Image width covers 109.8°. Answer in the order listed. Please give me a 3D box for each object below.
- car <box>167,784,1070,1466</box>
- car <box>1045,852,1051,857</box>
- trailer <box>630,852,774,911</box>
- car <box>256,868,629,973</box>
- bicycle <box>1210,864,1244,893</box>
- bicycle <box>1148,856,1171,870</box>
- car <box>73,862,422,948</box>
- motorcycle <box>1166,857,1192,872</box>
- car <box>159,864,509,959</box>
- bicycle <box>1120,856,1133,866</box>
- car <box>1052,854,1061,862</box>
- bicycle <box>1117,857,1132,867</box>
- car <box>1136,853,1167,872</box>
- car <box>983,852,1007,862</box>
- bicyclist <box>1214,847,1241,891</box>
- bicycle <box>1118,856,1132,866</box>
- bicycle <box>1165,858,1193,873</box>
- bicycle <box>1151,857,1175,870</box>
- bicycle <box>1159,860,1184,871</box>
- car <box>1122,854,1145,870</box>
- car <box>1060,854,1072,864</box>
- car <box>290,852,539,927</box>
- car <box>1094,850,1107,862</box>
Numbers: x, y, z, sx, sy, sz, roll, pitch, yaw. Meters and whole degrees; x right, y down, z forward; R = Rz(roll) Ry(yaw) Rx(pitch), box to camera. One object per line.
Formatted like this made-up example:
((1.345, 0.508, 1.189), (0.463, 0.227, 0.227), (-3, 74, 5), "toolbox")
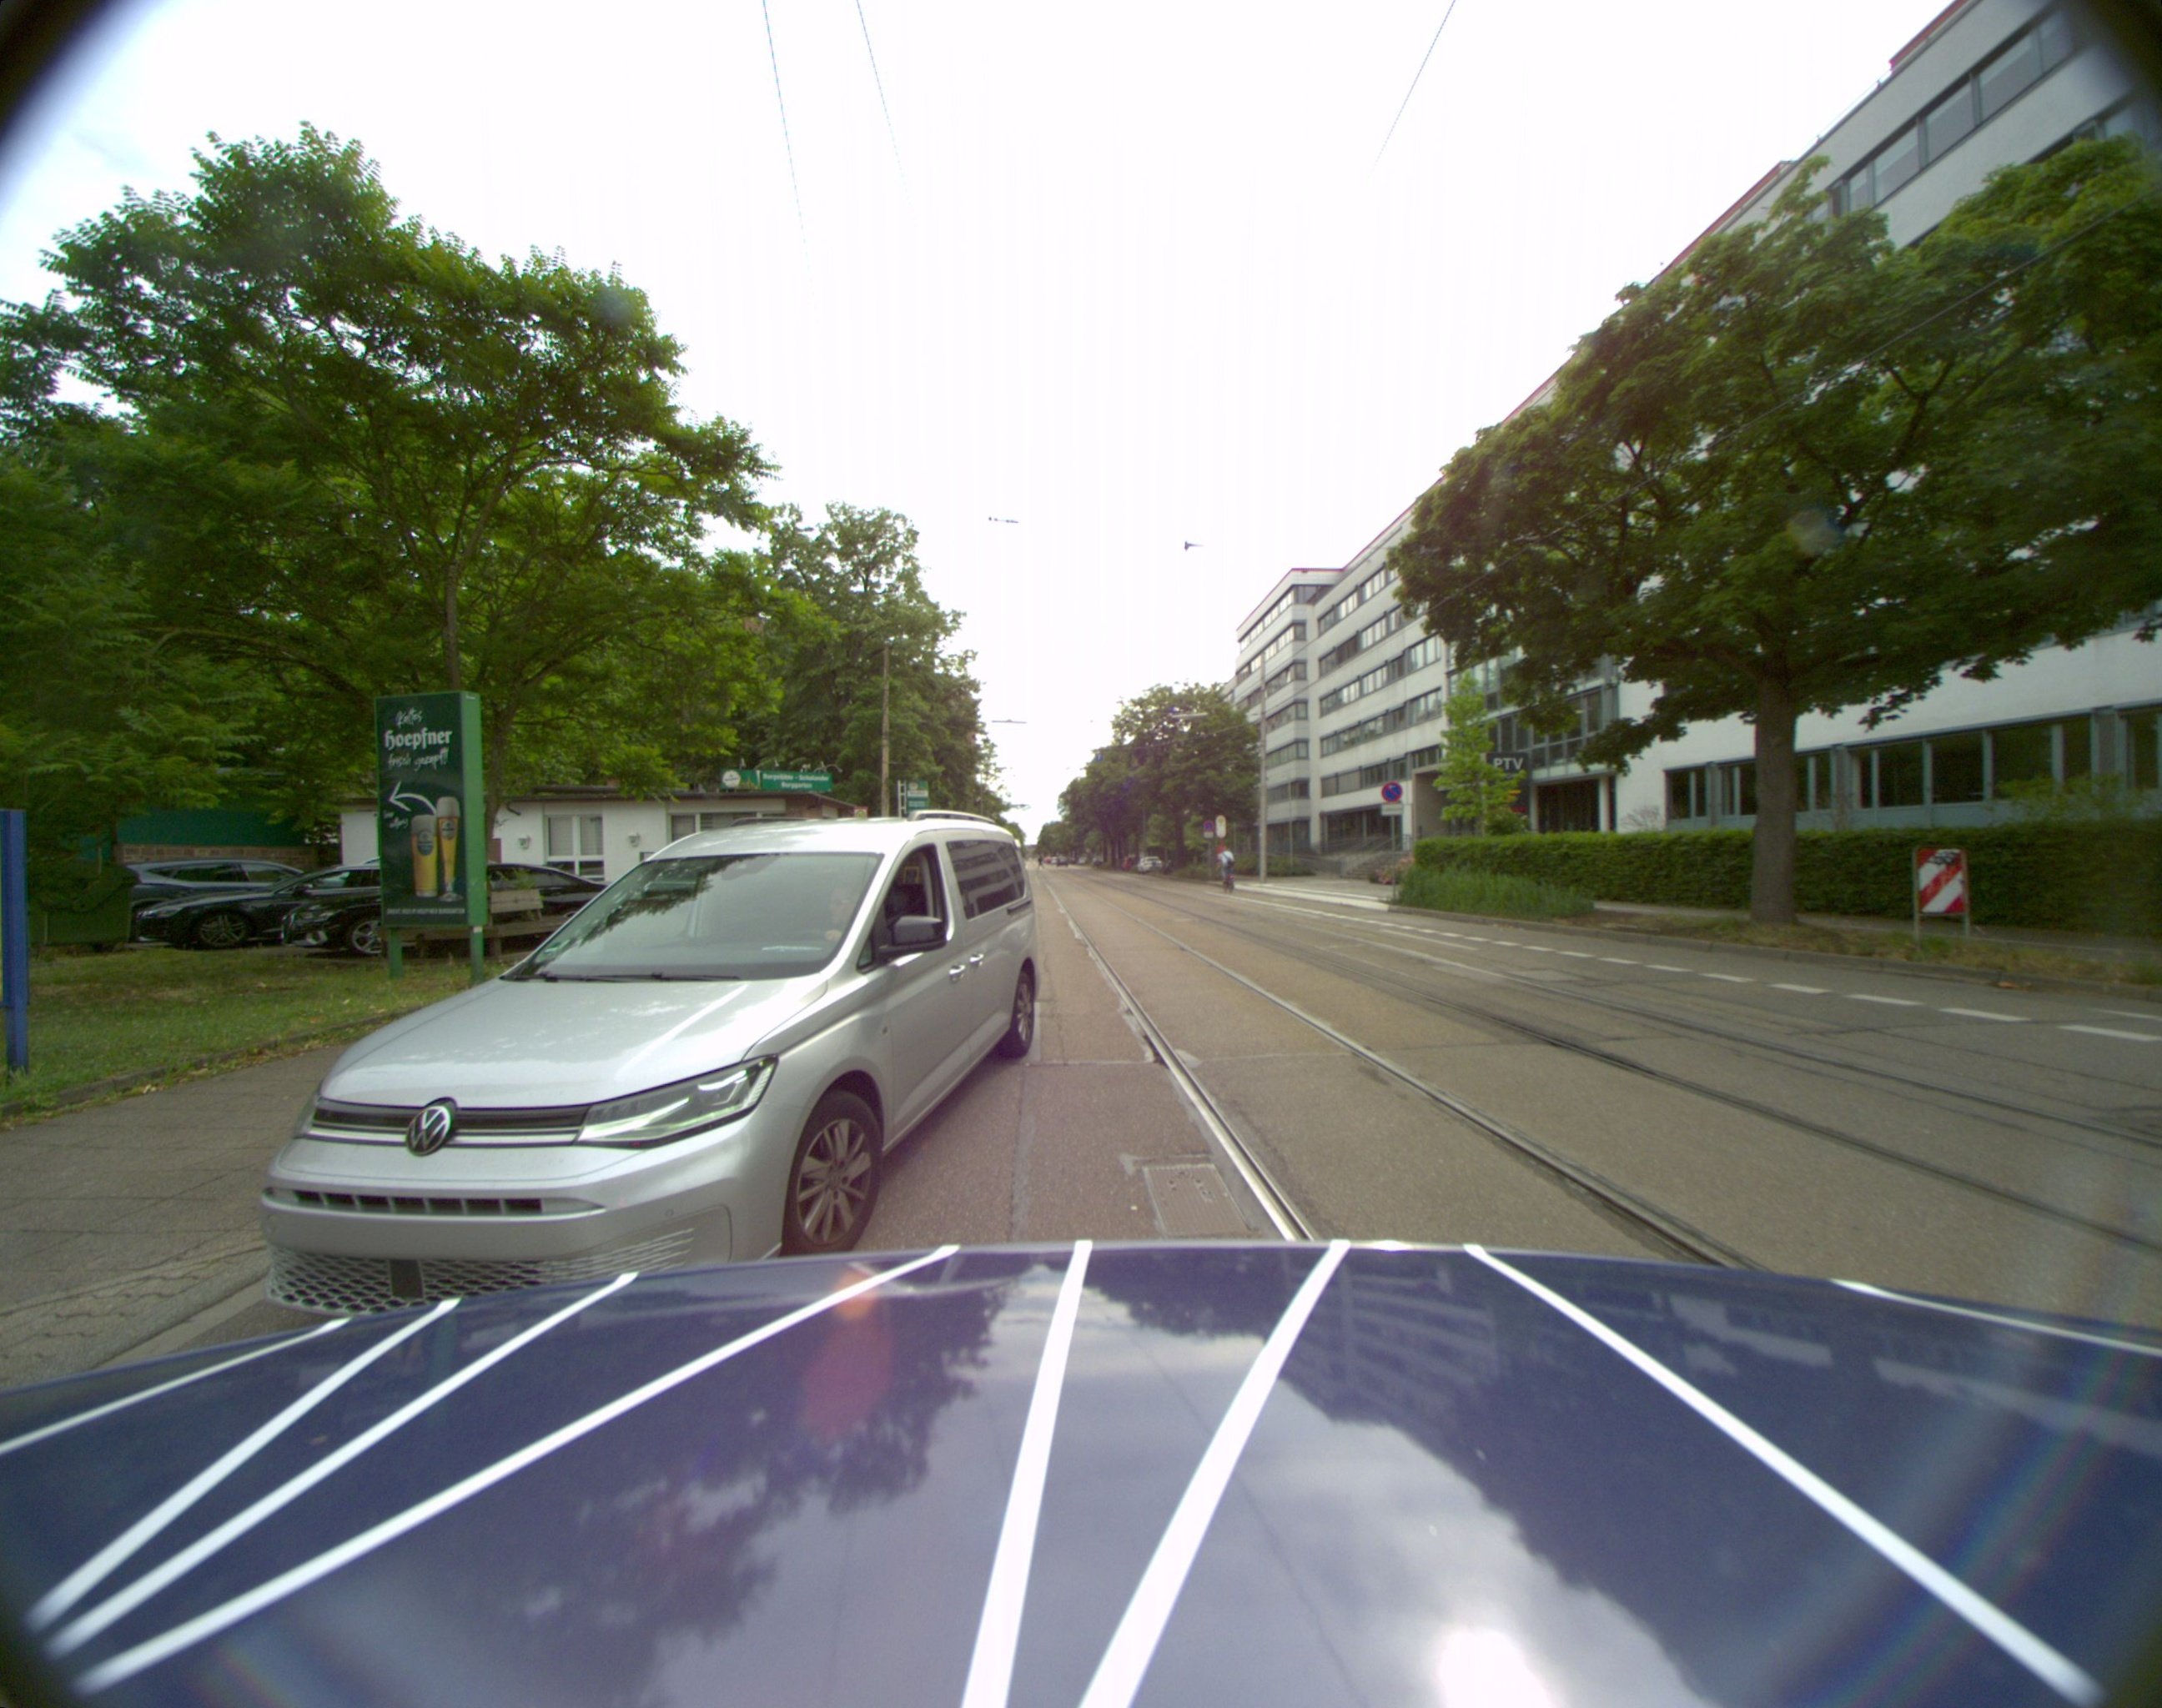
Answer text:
((-1.421, 0.728, 4.579), (1.849, 1.796, 4.940), (-1, 0, 9), "car")
((-10.058, 0.187, 230.290), (1.746, 1.490, 4.259), (-1, 0, -5), "car")
((-10.547, 0.741, 21.322), (3.170, 1.530, 1.620), (-1, 1, -2), "trailer")
((-10.597, 0.969, 12.937), (1.929, 1.399, 4.594), (0, 0, 40), "car")
((5.895, 0.970, 30.779), (0.589, 1.067, 1.954), (0, 0, -14), "bicycle")
((6.480, 0.727, 62.621), (1.869, 1.180, 0.632), (0, 1, 1), "bicycle")
((-16.403, 0.907, 15.221), (1.980, 1.450, 4.501), (-1, -1, 36), "car")
((7.409, 0.780, 57.496), (1.794, 1.044, 0.732), (-2, 1, -11), "motorcycle")
((-13.928, 0.944, 14.433), (1.872, 1.419, 4.552), (2, 1, 39), "car")
((5.171, 0.812, 86.601), (1.473, 1.134, 0.617), (-1, 1, -5), "bicycle")
((-5.117, 0.811, 160.996), (1.708, 1.521, 3.740), (-2, 1, -5), "car")
((4.905, 0.873, 85.580), (1.475, 1.085, 0.616), (-3, 1, -16), "bicycle")
((6.057, 0.731, 65.684), (1.886, 1.485, 4.751), (-3, 0, -4), "car")
((-15.579, 0.544, 137.944), (3.994, 1.608, 2.001), (2, 1, 8), "car")
((5.906, 0.603, 30.718), (0.738, 1.739, 0.977), (0, 1, -14), "bicyclist")
((5.092, 0.809, 87.102), (1.473, 1.134, 0.617), (-3, 1, -5), "bicycle")
((7.140, 0.856, 55.249), (1.835, 1.047, 0.741), (-1, 0, -12), "bicycle")
((6.632, 0.768, 61.468), (1.812, 1.094, 0.631), (0, 1, -10), "bicycle")
((7.036, 0.889, 59.099), (1.812, 0.894, 0.631), (0, 1, -10), "bicycle")
((5.420, 0.843, 78.835), (1.633, 1.439, 3.754), (-4, 1, -7), "car")
((-2.522, 0.819, 126.673), (1.832, 1.727, 4.333), (-1, 1, -3), "car")
((-16.445, 0.837, 18.921), (4.434, 1.637, 1.991), (-1, 1, 2), "car")
((3.001, 0.317, 116.509), (1.815, 1.699, 3.999), (-3, 1, 0), "car")
